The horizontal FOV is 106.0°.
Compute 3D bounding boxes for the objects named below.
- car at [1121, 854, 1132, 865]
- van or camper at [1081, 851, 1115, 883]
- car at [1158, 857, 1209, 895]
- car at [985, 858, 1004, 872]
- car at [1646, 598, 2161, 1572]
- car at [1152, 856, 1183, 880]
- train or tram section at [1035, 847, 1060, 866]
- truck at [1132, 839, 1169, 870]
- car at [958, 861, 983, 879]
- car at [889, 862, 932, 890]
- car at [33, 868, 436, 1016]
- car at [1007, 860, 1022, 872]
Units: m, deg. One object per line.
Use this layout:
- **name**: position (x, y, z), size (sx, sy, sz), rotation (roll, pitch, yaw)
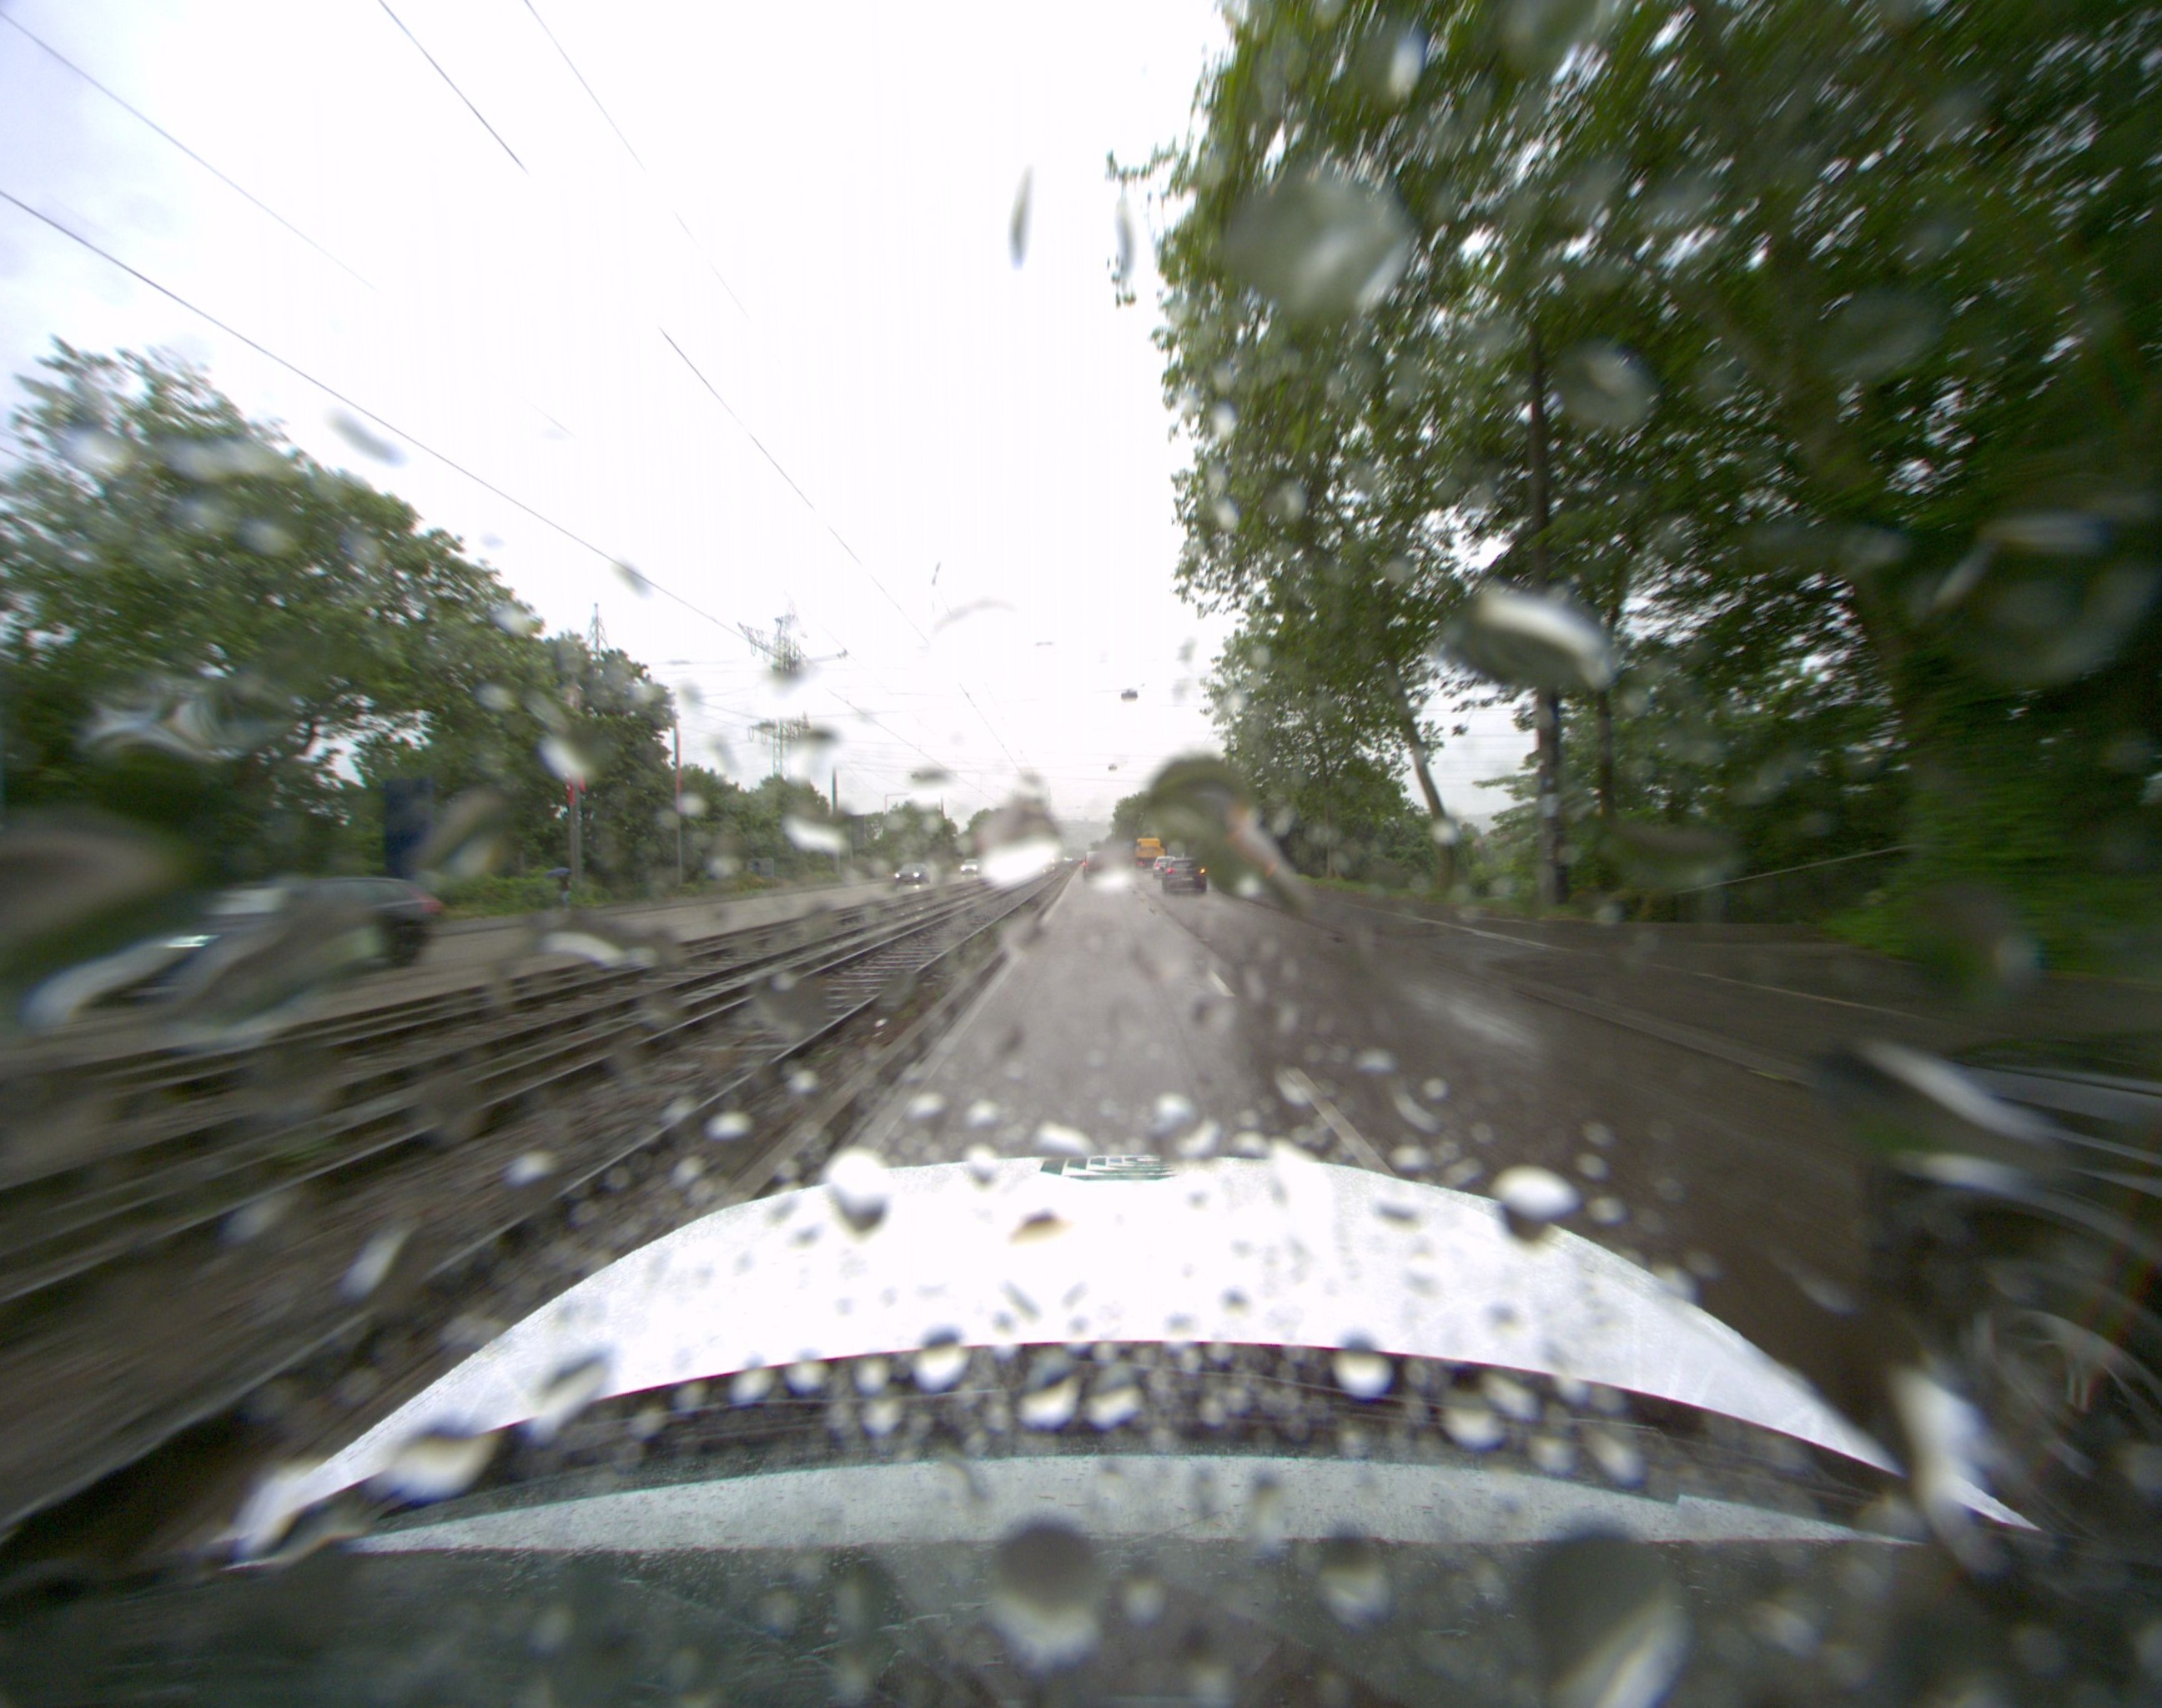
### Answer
- **car**: position (8.227, 0.974, 148.012), size (1.985, 1.903, 4.003), rotation (-1, 0, 3)
- **van or camper**: position (0.995, 0.743, 50.008), size (1.987, 1.784, 3.999), rotation (0, 1, -1)
- **car**: position (4.232, 0.884, 34.130), size (1.811, 1.414, 3.781), rotation (-1, 1, 3)
- **car**: position (-12.172, 1.563, 115.221), size (1.985, 1.903, 4.004), rotation (-1, 0, 3)
- **car**: position (2.827, 0.412, 0.398), size (1.893, 1.716, 4.726), rotation (-1, 1, 1)
- **car**: position (5.675, 0.895, 53.877), size (1.811, 1.414, 3.781), rotation (-1, 1, 3)
- **train or tram section**: position (-5.509, 0.316, 135.807), size (2.839, 2.894, 14.015), rotation (-3, 0, 3)
- **truck**: position (6.372, 0.032, 75.774), size (3.101, 2.773, 6.332), rotation (-1, 0, 2)
- **car**: position (-12.141, 1.719, 89.664), size (1.985, 1.903, 4.004), rotation (-1, 0, 3)
- **car**: position (-12.190, 1.537, 58.464), size (1.985, 1.903, 4.004), rotation (-1, 0, 3)
- **car**: position (-12.814, 1.209, 12.792), size (1.985, 1.816, 4.004), rotation (-2, 0, 3)
- **car**: position (-11.112, 2.050, 135.812), size (1.985, 1.903, 4.004), rotation (-1, 0, 3)
